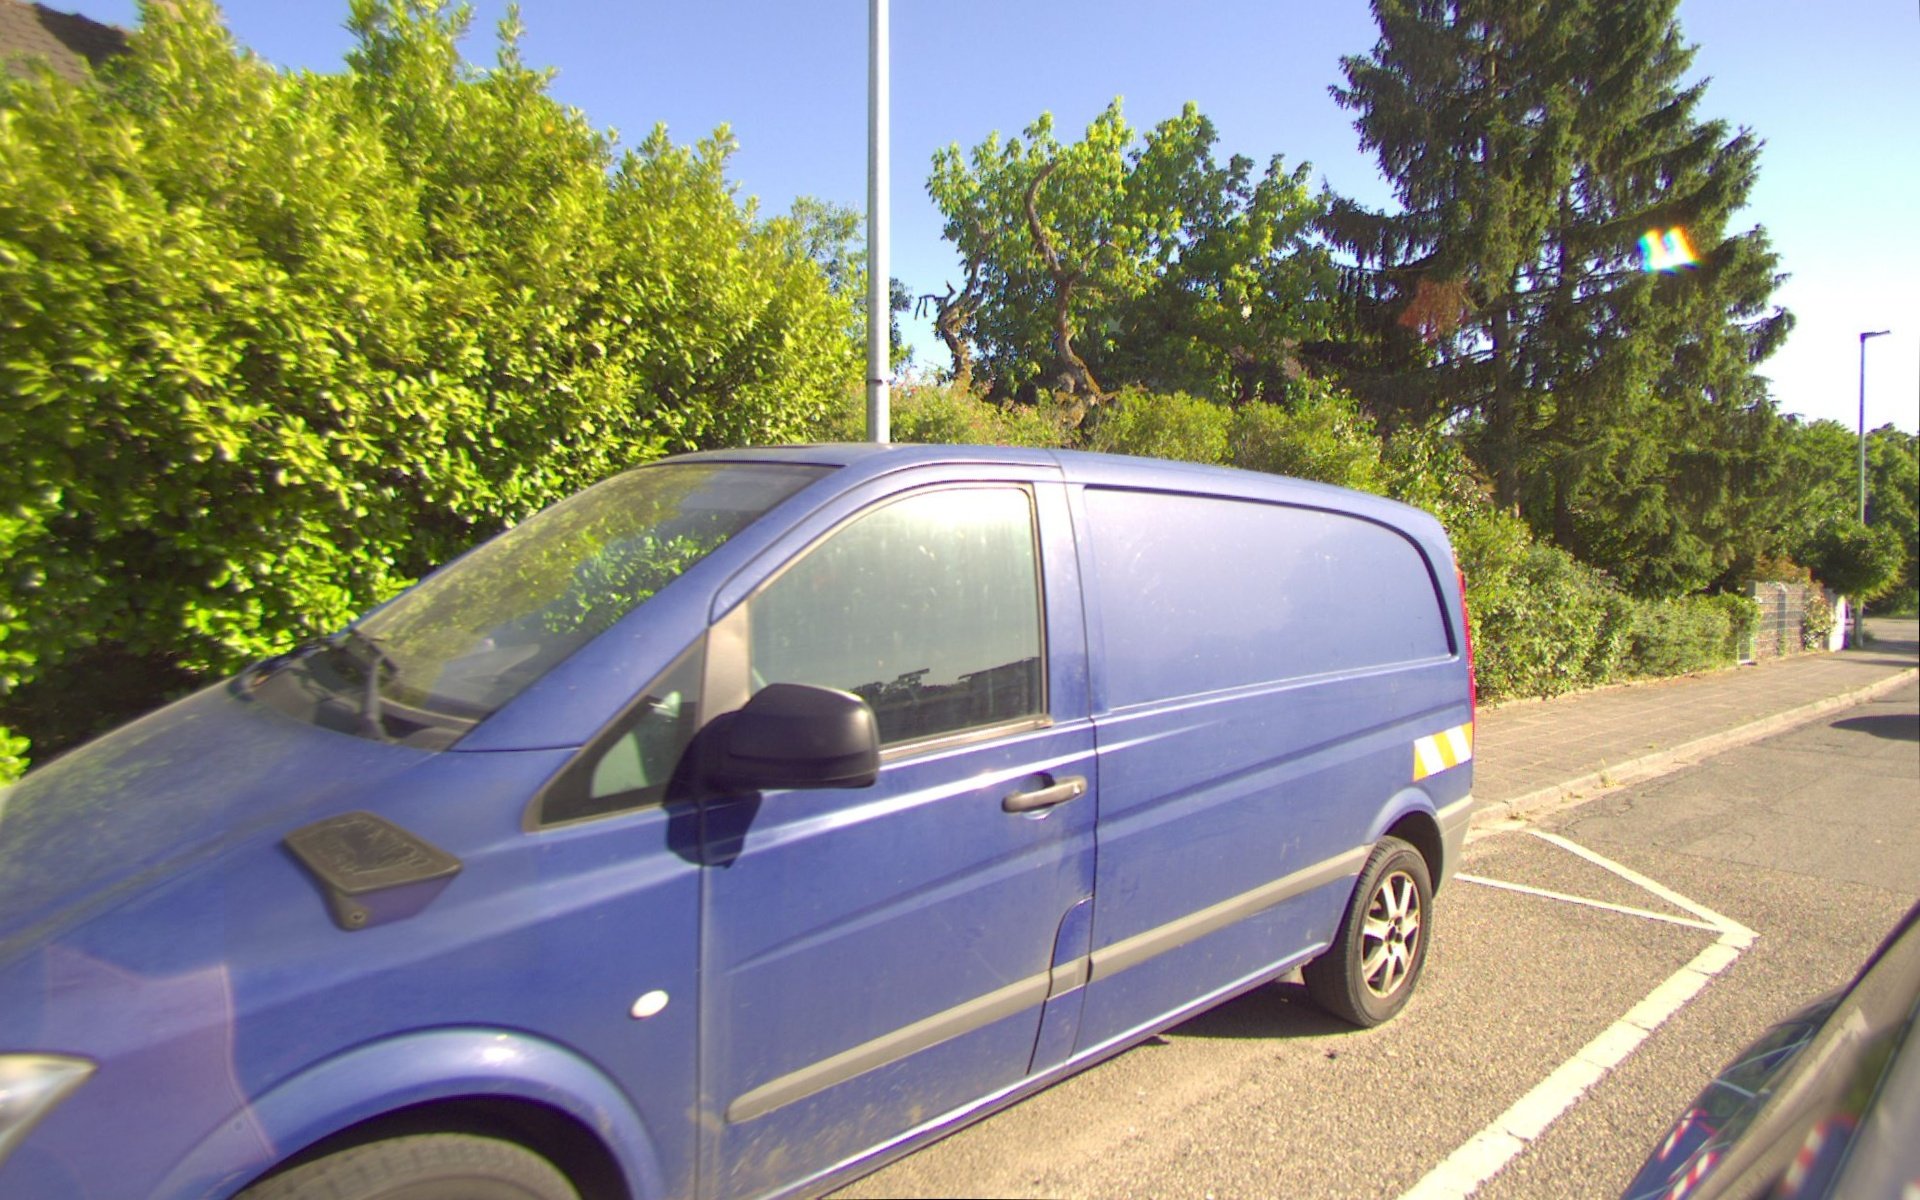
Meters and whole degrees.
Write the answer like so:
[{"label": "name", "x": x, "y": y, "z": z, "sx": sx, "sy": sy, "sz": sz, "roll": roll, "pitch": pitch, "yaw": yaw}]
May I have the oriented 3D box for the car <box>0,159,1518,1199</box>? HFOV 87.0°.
[{"label": "car", "x": -0.189, "y": 0.424, "z": 3.162, "sx": 4.614, "sy": 1.931, "sz": 1.840, "roll": 0, "pitch": 1, "yaw": -40}]
